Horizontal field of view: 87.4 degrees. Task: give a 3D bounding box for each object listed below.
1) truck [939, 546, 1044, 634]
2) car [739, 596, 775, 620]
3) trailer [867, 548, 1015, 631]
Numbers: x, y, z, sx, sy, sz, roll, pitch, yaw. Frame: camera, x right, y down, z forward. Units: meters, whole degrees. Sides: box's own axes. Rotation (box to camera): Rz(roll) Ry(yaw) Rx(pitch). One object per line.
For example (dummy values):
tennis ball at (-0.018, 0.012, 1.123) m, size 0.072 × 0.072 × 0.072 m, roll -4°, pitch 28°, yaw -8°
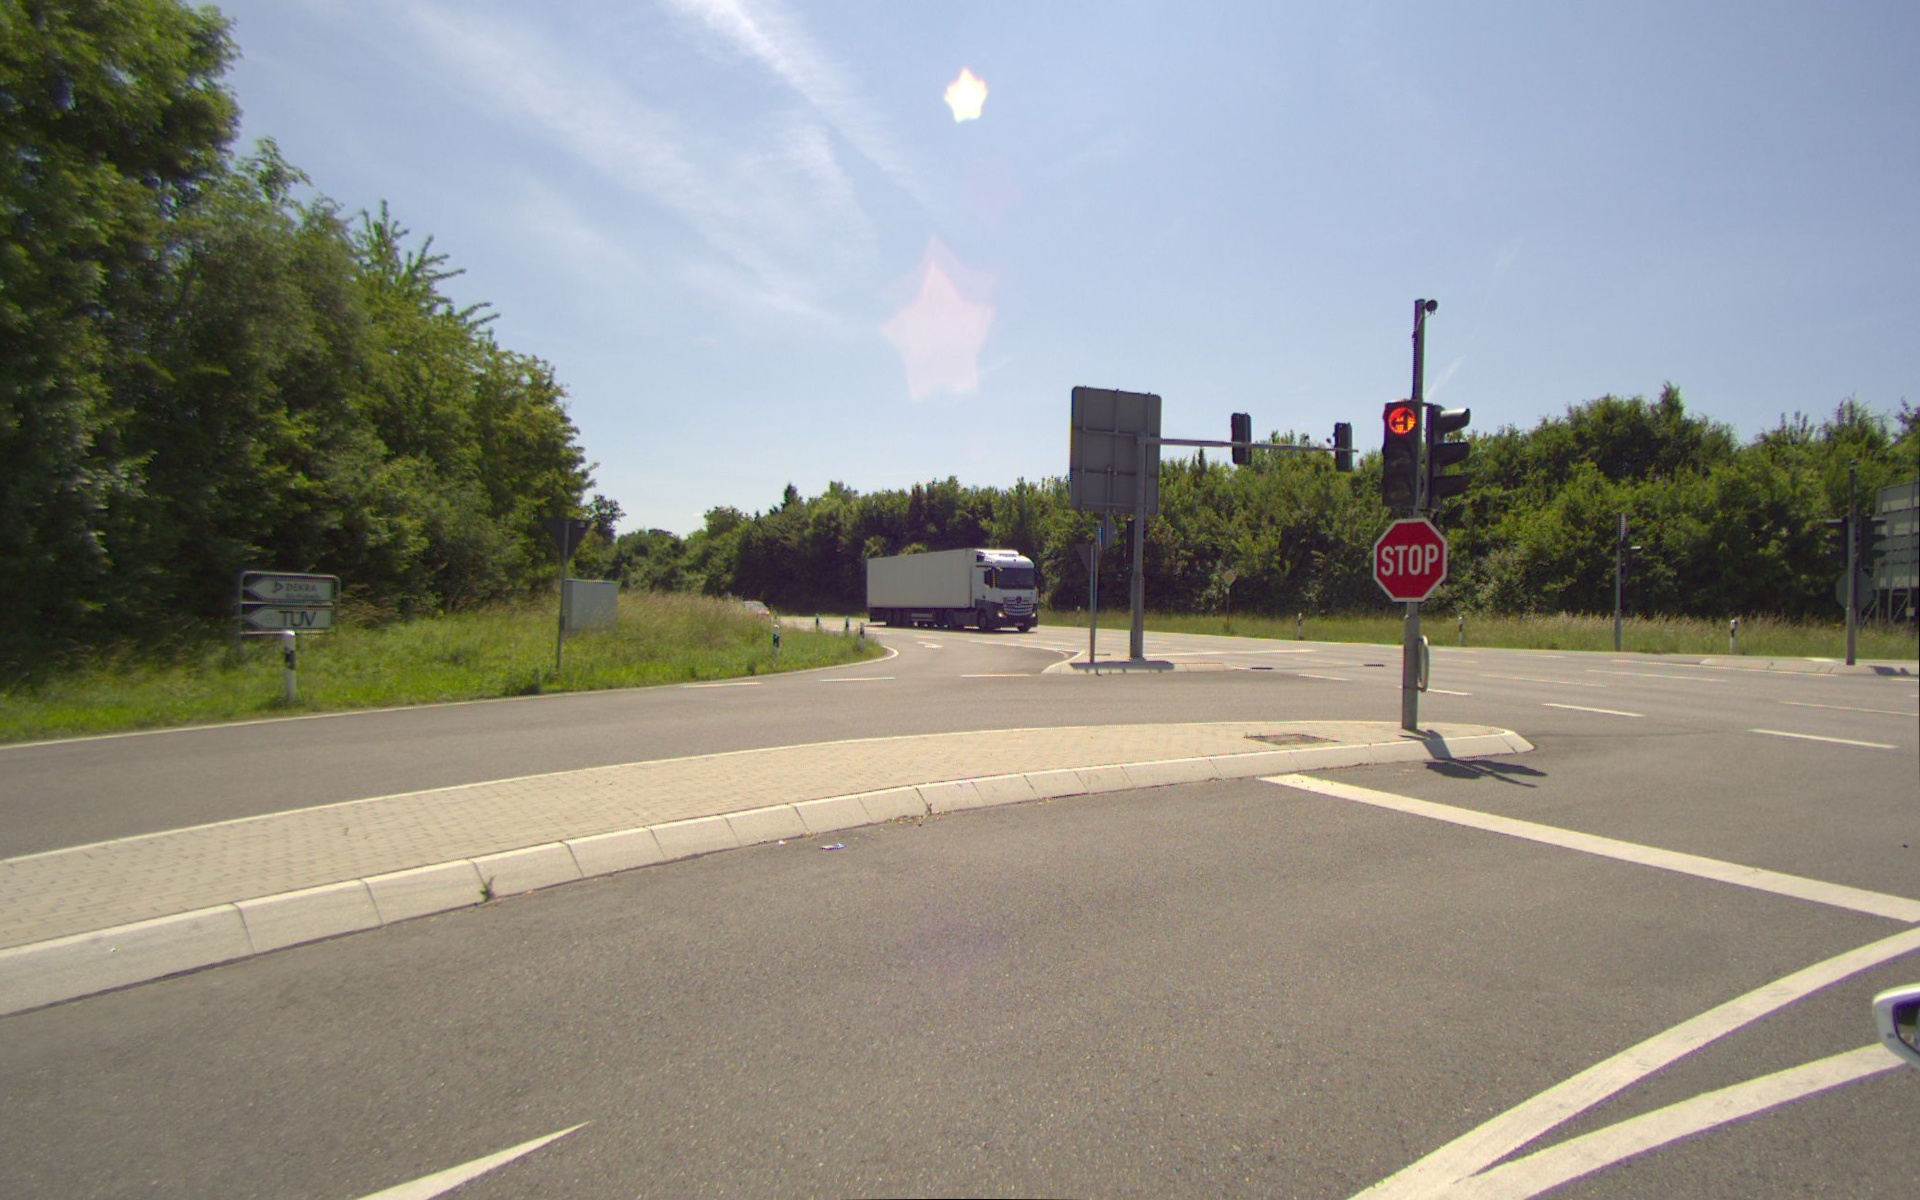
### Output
truck at (1.480, -0.484, 50.394) m, size 2.627 × 4.090 × 6.237 m, roll 0°, pitch 0°, yaw -27°
car at (-14.000, 0.542, 69.136) m, size 1.529 × 1.519 × 3.808 m, roll -1°, pitch 1°, yaw -25°
trailer at (-1.476, -0.523, 56.152) m, size 2.626 × 4.090 × 13.742 m, roll 0°, pitch 0°, yaw -27°
